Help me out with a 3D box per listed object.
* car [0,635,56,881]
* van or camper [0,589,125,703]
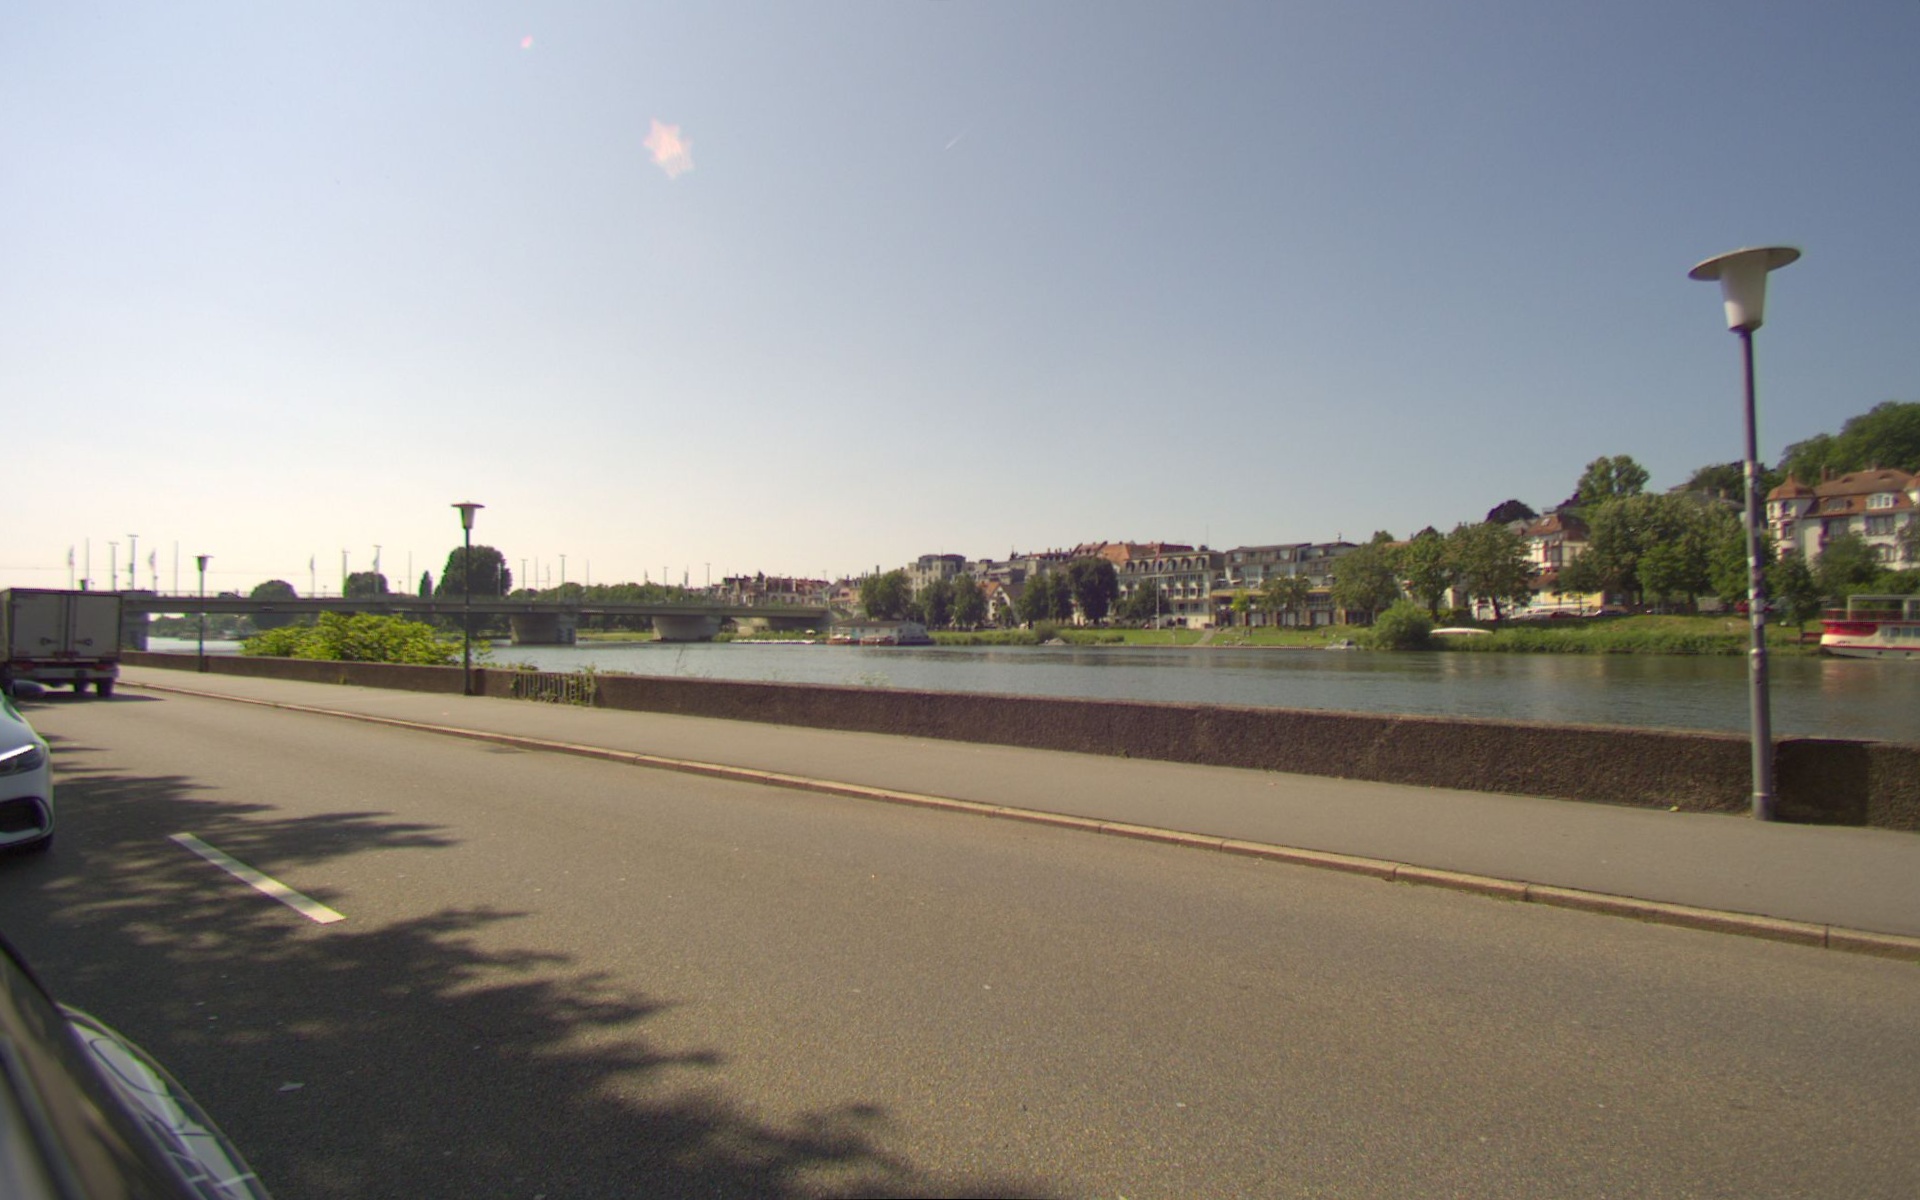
[{"bbox_3d":[-7.776,0.996,6.944,4.550,1.430,1.807,-2,-1,41],"label":"car"},{"bbox_3d":[-21.793,1.090,24.037,5.381,2.417,2.056,-2,-4,40],"label":"van or camper"}]
